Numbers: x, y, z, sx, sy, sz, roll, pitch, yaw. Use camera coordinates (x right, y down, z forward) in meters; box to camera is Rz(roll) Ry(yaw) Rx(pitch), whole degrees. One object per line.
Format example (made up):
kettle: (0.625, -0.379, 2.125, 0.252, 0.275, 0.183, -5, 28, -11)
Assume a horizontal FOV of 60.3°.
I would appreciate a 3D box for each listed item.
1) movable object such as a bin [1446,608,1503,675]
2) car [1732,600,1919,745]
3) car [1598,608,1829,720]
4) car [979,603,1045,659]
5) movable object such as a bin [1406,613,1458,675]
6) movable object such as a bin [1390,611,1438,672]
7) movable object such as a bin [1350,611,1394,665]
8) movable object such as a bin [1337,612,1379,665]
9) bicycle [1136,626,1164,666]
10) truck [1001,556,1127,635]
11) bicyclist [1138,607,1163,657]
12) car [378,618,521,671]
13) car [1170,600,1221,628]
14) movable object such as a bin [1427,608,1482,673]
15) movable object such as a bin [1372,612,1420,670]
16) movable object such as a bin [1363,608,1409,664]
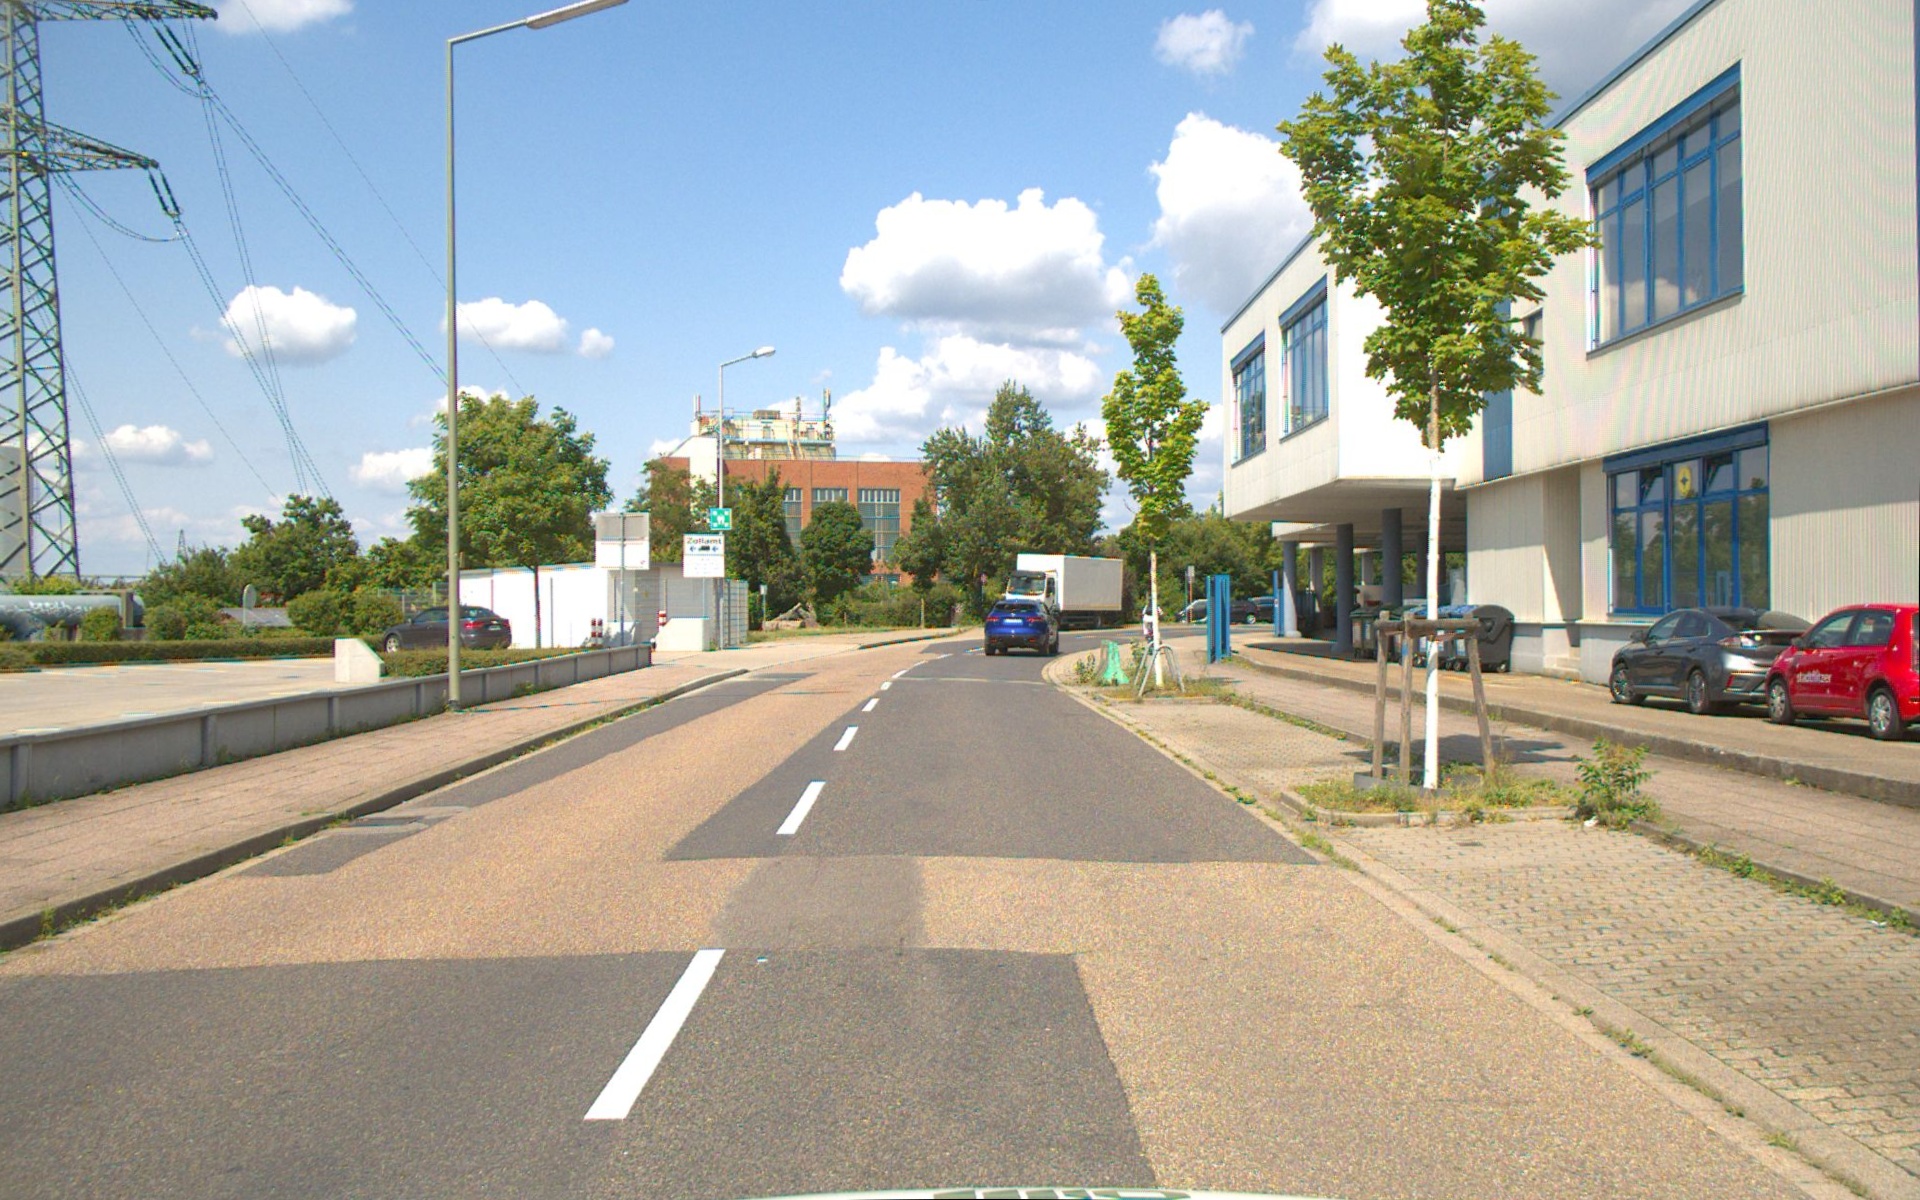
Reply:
movable object such as a bin: (11.292, 0.909, 36.330, 0.788, 1.438, 1.357, 1, -1, -2)
car: (10.645, 0.806, 19.202, 1.540, 1.517, 3.815, 1, -1, -1)
car: (10.537, 0.864, 23.410, 1.465, 1.428, 3.853, 1, -1, -1)
car: (1.649, 0.948, 50.695, 1.869, 1.621, 4.703, 1, -1, 3)
movable object such as a bin: (11.199, 1.040, 39.292, 0.788, 1.438, 1.357, 1, -1, -2)
movable object such as a bin: (11.147, 1.013, 40.612, 0.788, 1.438, 1.174, 1, -1, -3)
movable object such as a bin: (11.205, 1.035, 45.049, 0.788, 1.438, 1.357, 1, -1, -3)
movable object such as a bin: (11.197, 1.076, 46.527, 0.788, 1.438, 1.357, 1, -1, -3)
bicycle: (5.523, 1.322, 48.005, 0.652, 1.128, 2.169, 0, -1, 10)
truck: (5.256, -0.190, 81.513, 2.277, 3.630, 9.350, 2, 0, 29)
bicyclist: (5.554, 0.929, 48.246, 0.649, 1.422, 0.859, 0, -1, 10)
car: (-14.449, 1.236, 46.785, 3.916, 1.402, 1.798, 0, -1, 34)
car: (14.012, 0.844, 98.569, 2.837, 1.597, 1.890, 1, -1, 3)
movable object such as a bin: (11.292, 0.918, 37.798, 0.788, 1.438, 1.357, 1, -1, -2)
movable object such as a bin: (11.077, 1.037, 42.061, 0.788, 1.438, 1.426, 1, -1, -3)
movable object such as a bin: (11.230, 0.943, 43.639, 0.788, 1.438, 1.404, 1, -1, -3)
